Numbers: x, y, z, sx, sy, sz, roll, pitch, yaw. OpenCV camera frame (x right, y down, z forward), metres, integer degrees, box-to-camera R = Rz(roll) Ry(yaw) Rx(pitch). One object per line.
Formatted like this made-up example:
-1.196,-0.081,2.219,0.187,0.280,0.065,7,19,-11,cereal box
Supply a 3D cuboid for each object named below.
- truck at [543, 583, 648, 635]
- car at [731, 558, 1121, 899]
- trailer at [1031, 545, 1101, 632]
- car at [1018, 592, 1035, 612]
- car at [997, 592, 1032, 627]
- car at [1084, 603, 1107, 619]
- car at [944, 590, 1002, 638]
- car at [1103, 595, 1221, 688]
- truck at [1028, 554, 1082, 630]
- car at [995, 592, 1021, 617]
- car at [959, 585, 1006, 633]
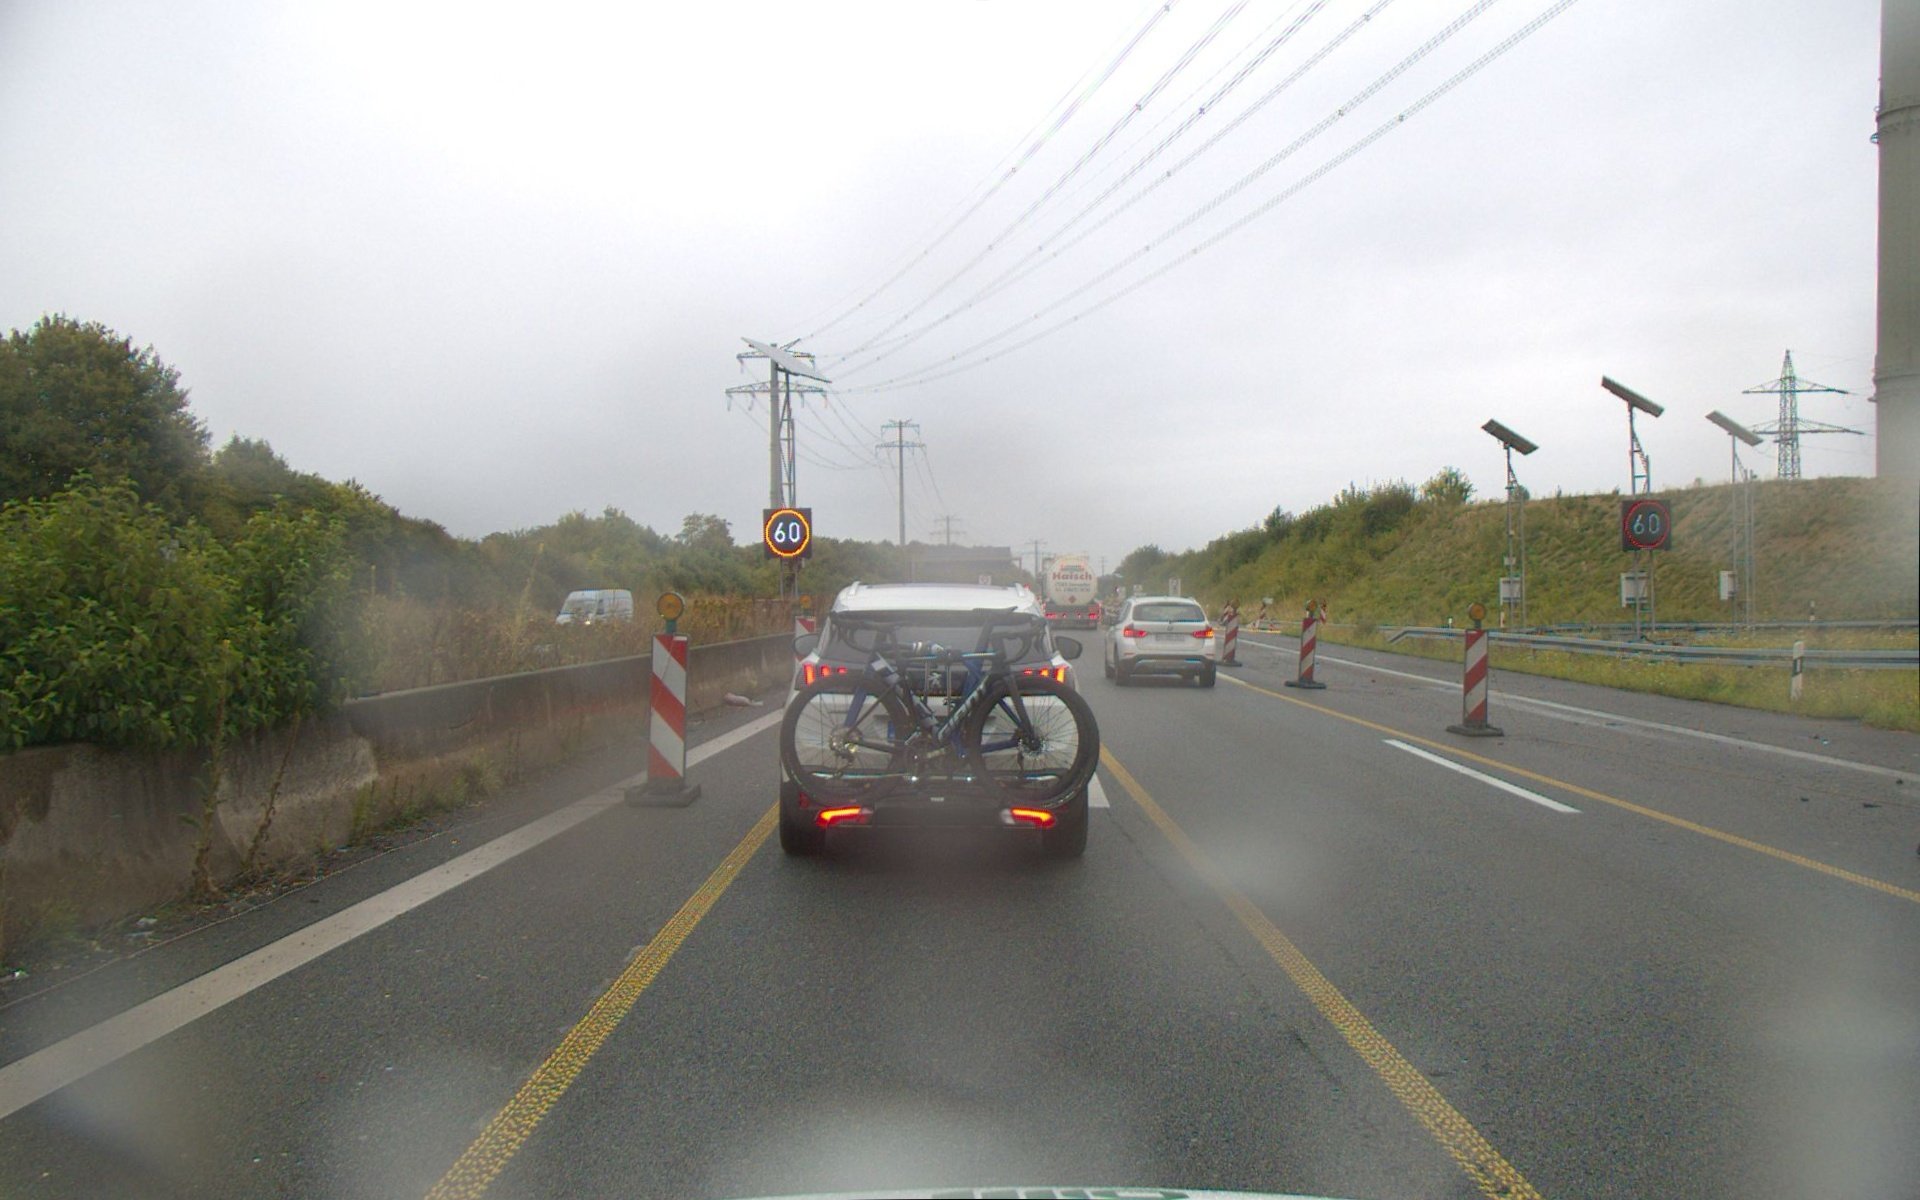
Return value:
-18.352,0.409,83.590,1.952,2.470,6.434,-1,1,21,truck
-0.103,0.619,10.339,1.888,1.639,4.596,0,0,2,car
5.133,-0.471,81.602,2.584,3.961,10.541,1,-1,-1,trailer
6.700,0.196,166.850,1.619,2.049,4.002,0,0,3,car
3.280,0.565,99.952,1.953,2.049,3.999,1,-1,-1,car
10.772,0.854,131.981,1.452,1.181,3.906,-1,0,-1,car
0.435,0.472,58.174,1.953,1.611,3.999,0,0,-1,car
3.598,0.696,30.071,1.831,1.561,4.198,0,0,3,car
5.044,-0.398,88.335,2.591,3.959,4.029,1,-1,-1,truck
4.003,0.370,137.769,1.953,2.049,3.999,1,-1,-1,car
0.979,0.389,73.827,1.953,2.049,3.999,-1,0,-1,car
